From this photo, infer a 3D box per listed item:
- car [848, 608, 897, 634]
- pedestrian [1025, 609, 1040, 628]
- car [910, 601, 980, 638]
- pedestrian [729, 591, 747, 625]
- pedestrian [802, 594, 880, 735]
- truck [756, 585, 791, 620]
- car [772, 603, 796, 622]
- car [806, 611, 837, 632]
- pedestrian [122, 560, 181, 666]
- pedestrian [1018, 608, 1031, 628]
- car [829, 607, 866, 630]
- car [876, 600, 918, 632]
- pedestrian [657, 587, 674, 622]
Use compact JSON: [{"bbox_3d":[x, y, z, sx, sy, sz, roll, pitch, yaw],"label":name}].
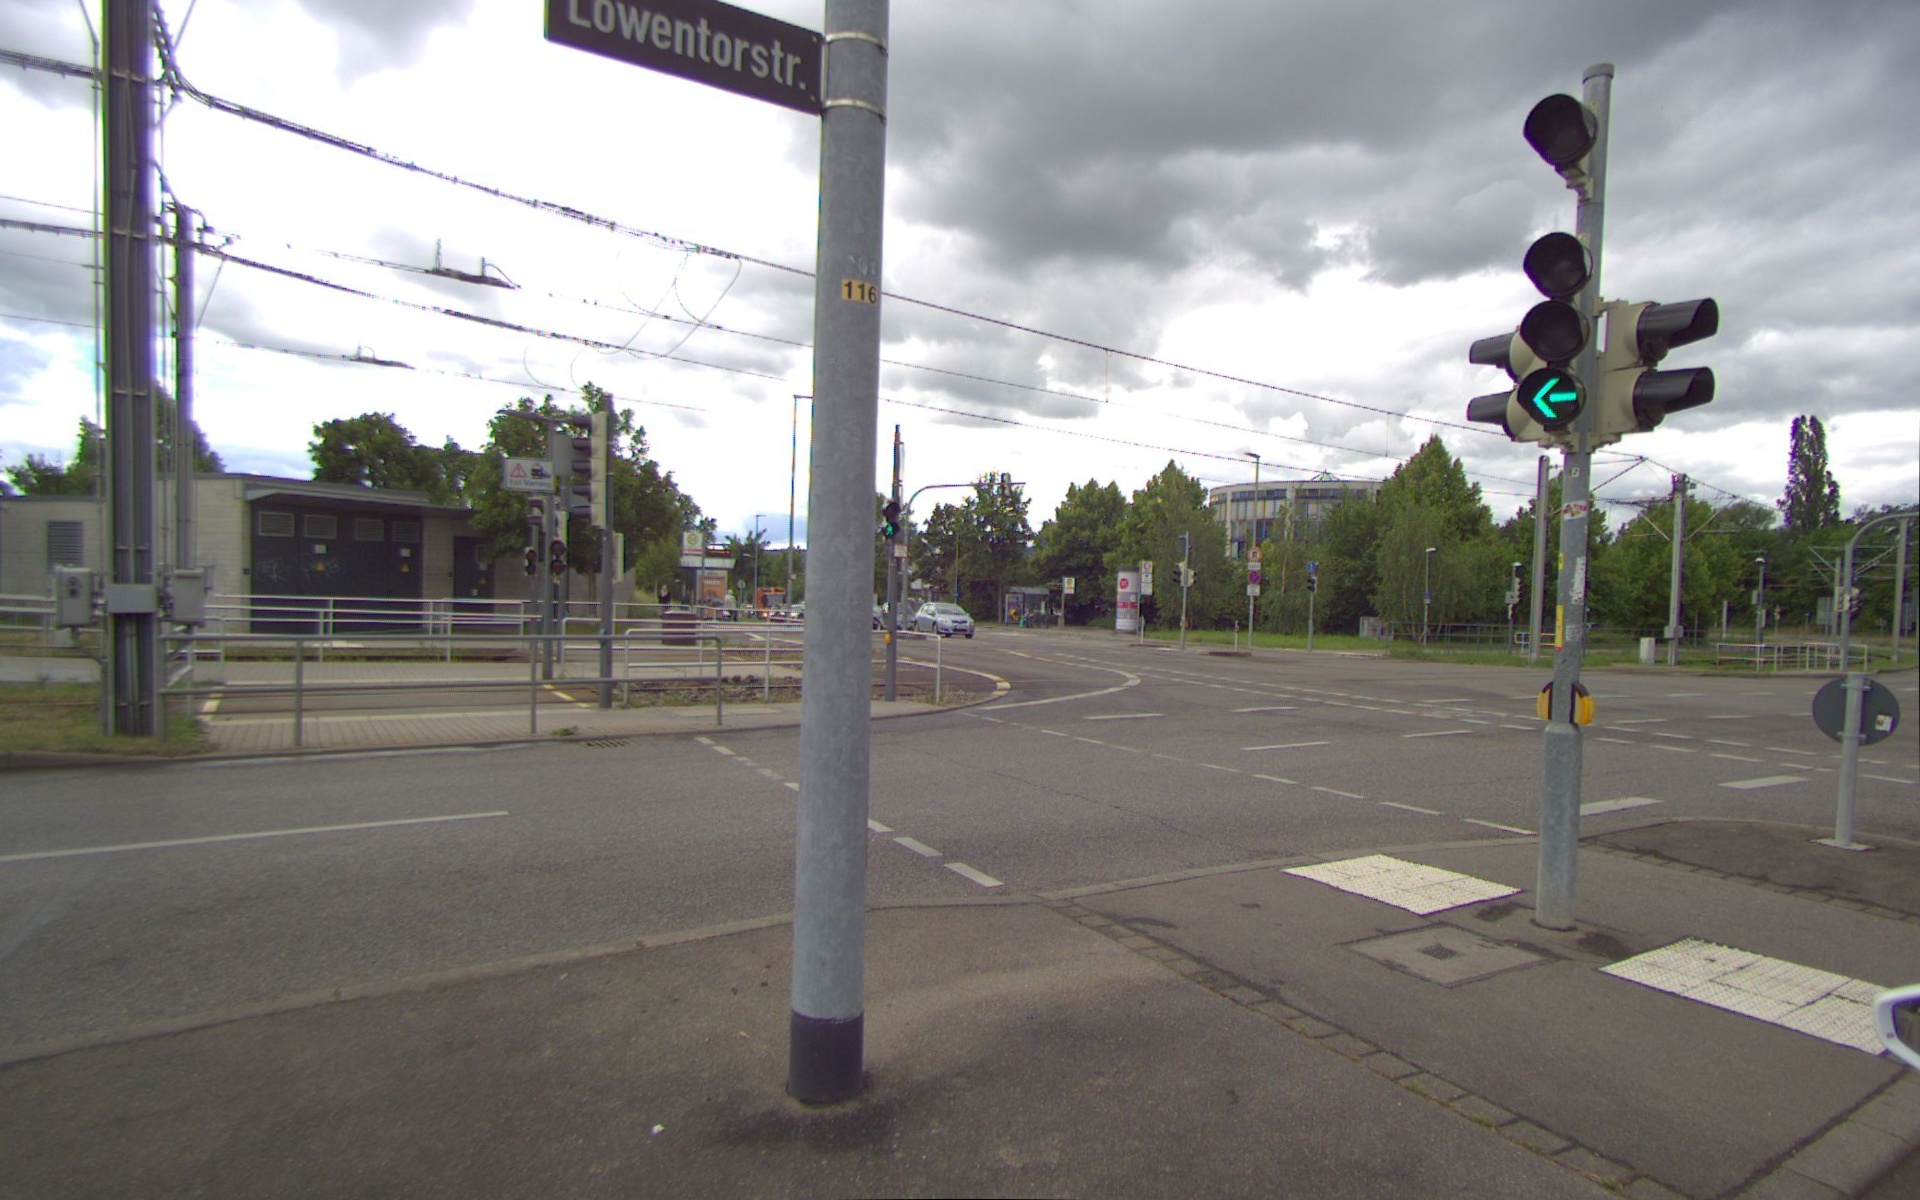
[{"bbox_3d":[-4.929,1.154,56.104,1.777,1.350,4.362,1,0,-18],"label":"car"},{"bbox_3d":[4.993,1.293,69.183,0.759,1.269,0.774,1,0,32],"label":"pedestrian"},{"bbox_3d":[-0.728,0.822,44.780,1.805,1.556,4.199,1,0,-21],"label":"car"},{"bbox_3d":[-9.169,0.311,41.484,0.543,1.382,0.769,1,0,-24],"label":"pedestrian"},{"bbox_3d":[-1.371,0.723,11.539,0.661,1.550,0.711,2,0,-25],"label":"pedestrian"},{"bbox_3d":[-19.858,0.300,106.434,2.670,3.533,9.960,1,0,-16],"label":"truck"},{"bbox_3d":[-16.191,1.126,92.242,1.618,1.606,4.046,1,0,-17],"label":"car"},{"bbox_3d":[-9.981,1.547,72.222,1.618,1.409,3.749,1,0,-17],"label":"car"},{"bbox_3d":[-12.513,0.202,15.562,0.539,1.593,0.560,4,-1,-30],"label":"pedestrian"},{"bbox_3d":[4.526,1.249,70.408,0.718,1.333,0.587,1,0,-15],"label":"pedestrian"},{"bbox_3d":[-7.047,1.150,62.718,1.618,1.350,4.046,1,0,-17],"label":"car"},{"bbox_3d":[-3.216,0.776,50.779,1.411,1.547,2.763,1,0,-19],"label":"car"},{"bbox_3d":[-14.688,0.232,50.039,0.539,1.692,0.639,1,0,10],"label":"pedestrian"}]
